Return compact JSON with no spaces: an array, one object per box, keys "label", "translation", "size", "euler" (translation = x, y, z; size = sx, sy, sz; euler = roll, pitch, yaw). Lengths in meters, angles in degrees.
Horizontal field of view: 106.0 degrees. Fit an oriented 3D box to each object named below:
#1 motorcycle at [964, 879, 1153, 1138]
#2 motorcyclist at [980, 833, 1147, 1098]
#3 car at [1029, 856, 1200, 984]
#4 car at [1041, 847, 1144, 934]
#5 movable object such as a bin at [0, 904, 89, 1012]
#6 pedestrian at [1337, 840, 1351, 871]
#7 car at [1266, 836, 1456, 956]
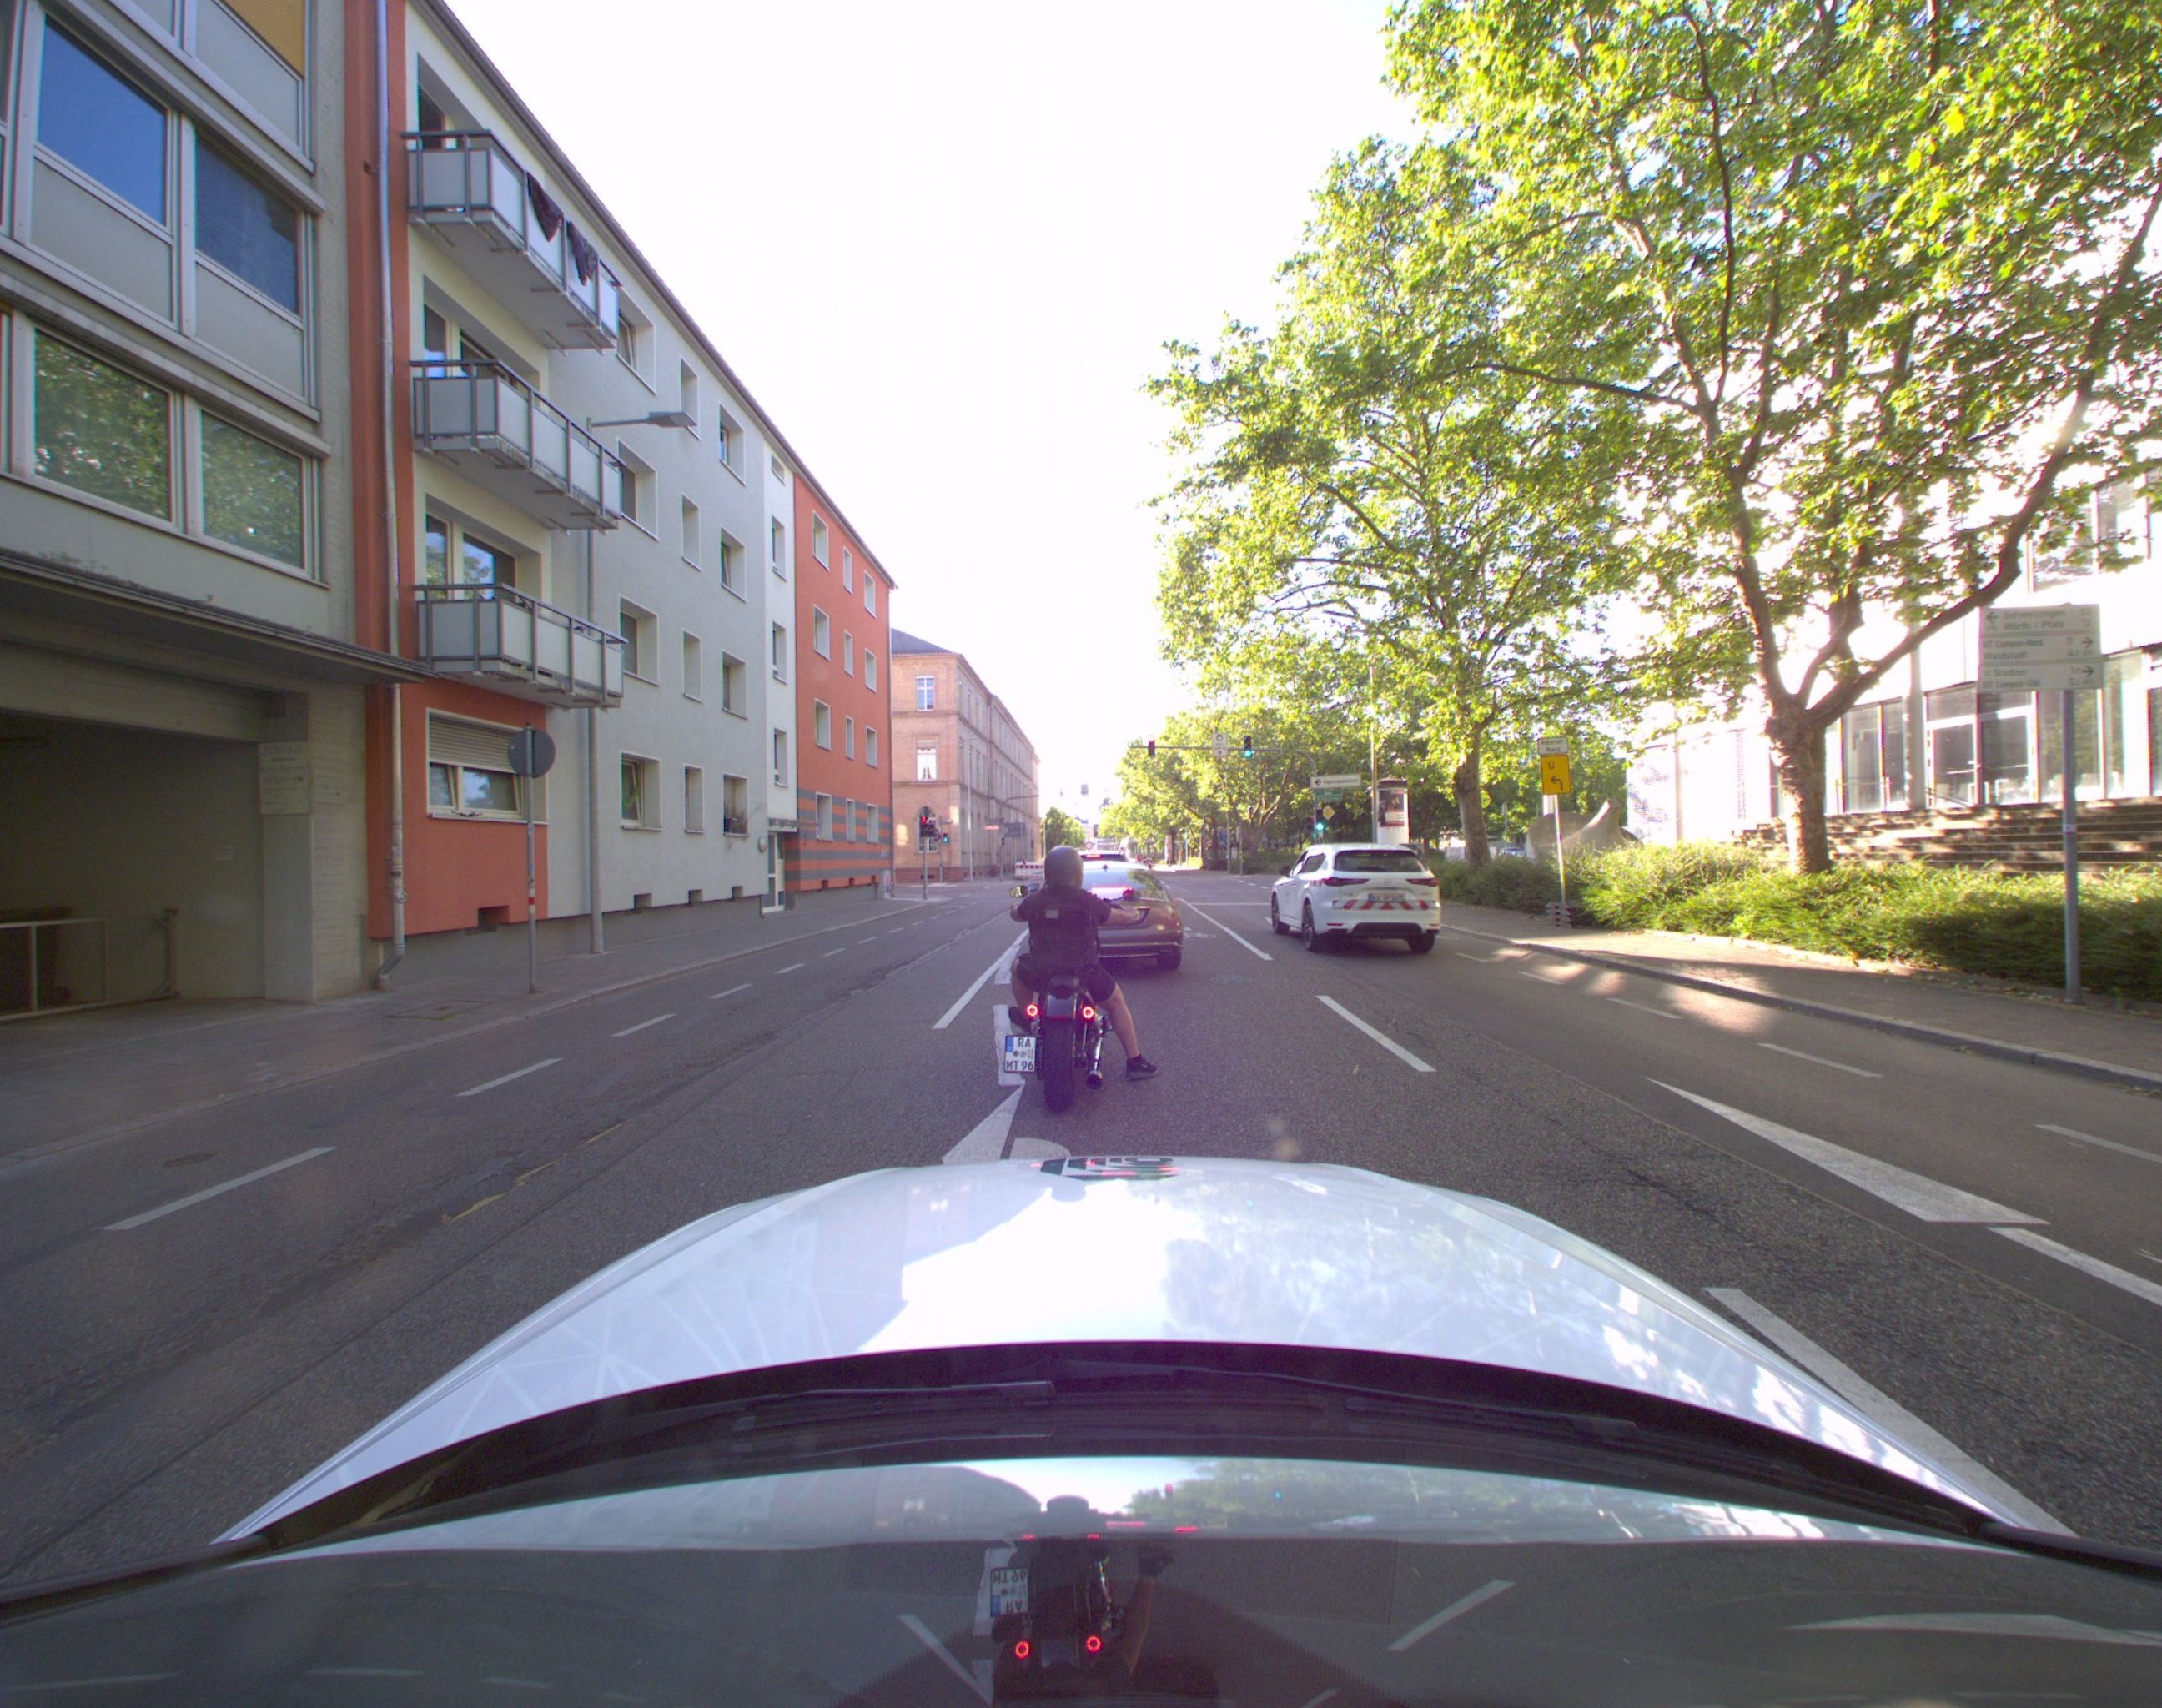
[{"label":"motorcycle","translation":[-0.081,0.858,5.526],"size":[0.977,1.275,2.408],"euler":[-1,0,2]},{"label":"motorcyclist","translation":[-0.086,0.672,5.537],"size":[0.977,1.578,1.249],"euler":[-1,0,1]},{"label":"car","translation":[0.260,0.772,11.759],"size":[1.867,1.444,4.421],"euler":[-1,0,-6]},{"label":"car","translation":[0.286,0.724,17.686],"size":[1.986,1.665,4.001],"euler":[0,-1,2]},{"label":"movable object such as a bin","translation":[-11.293,1.088,8.661],"size":[0.639,1.065,0.675],"euler":[-1,0,1]},{"label":"pedestrian","translation":[15.636,0.092,48.394],"size":[0.671,1.772,0.621],"euler":[-1,-1,31]},{"label":"car","translation":[4.511,0.596,13.888],"size":[1.935,1.708,4.487],"euler":[0,0,3]}]
